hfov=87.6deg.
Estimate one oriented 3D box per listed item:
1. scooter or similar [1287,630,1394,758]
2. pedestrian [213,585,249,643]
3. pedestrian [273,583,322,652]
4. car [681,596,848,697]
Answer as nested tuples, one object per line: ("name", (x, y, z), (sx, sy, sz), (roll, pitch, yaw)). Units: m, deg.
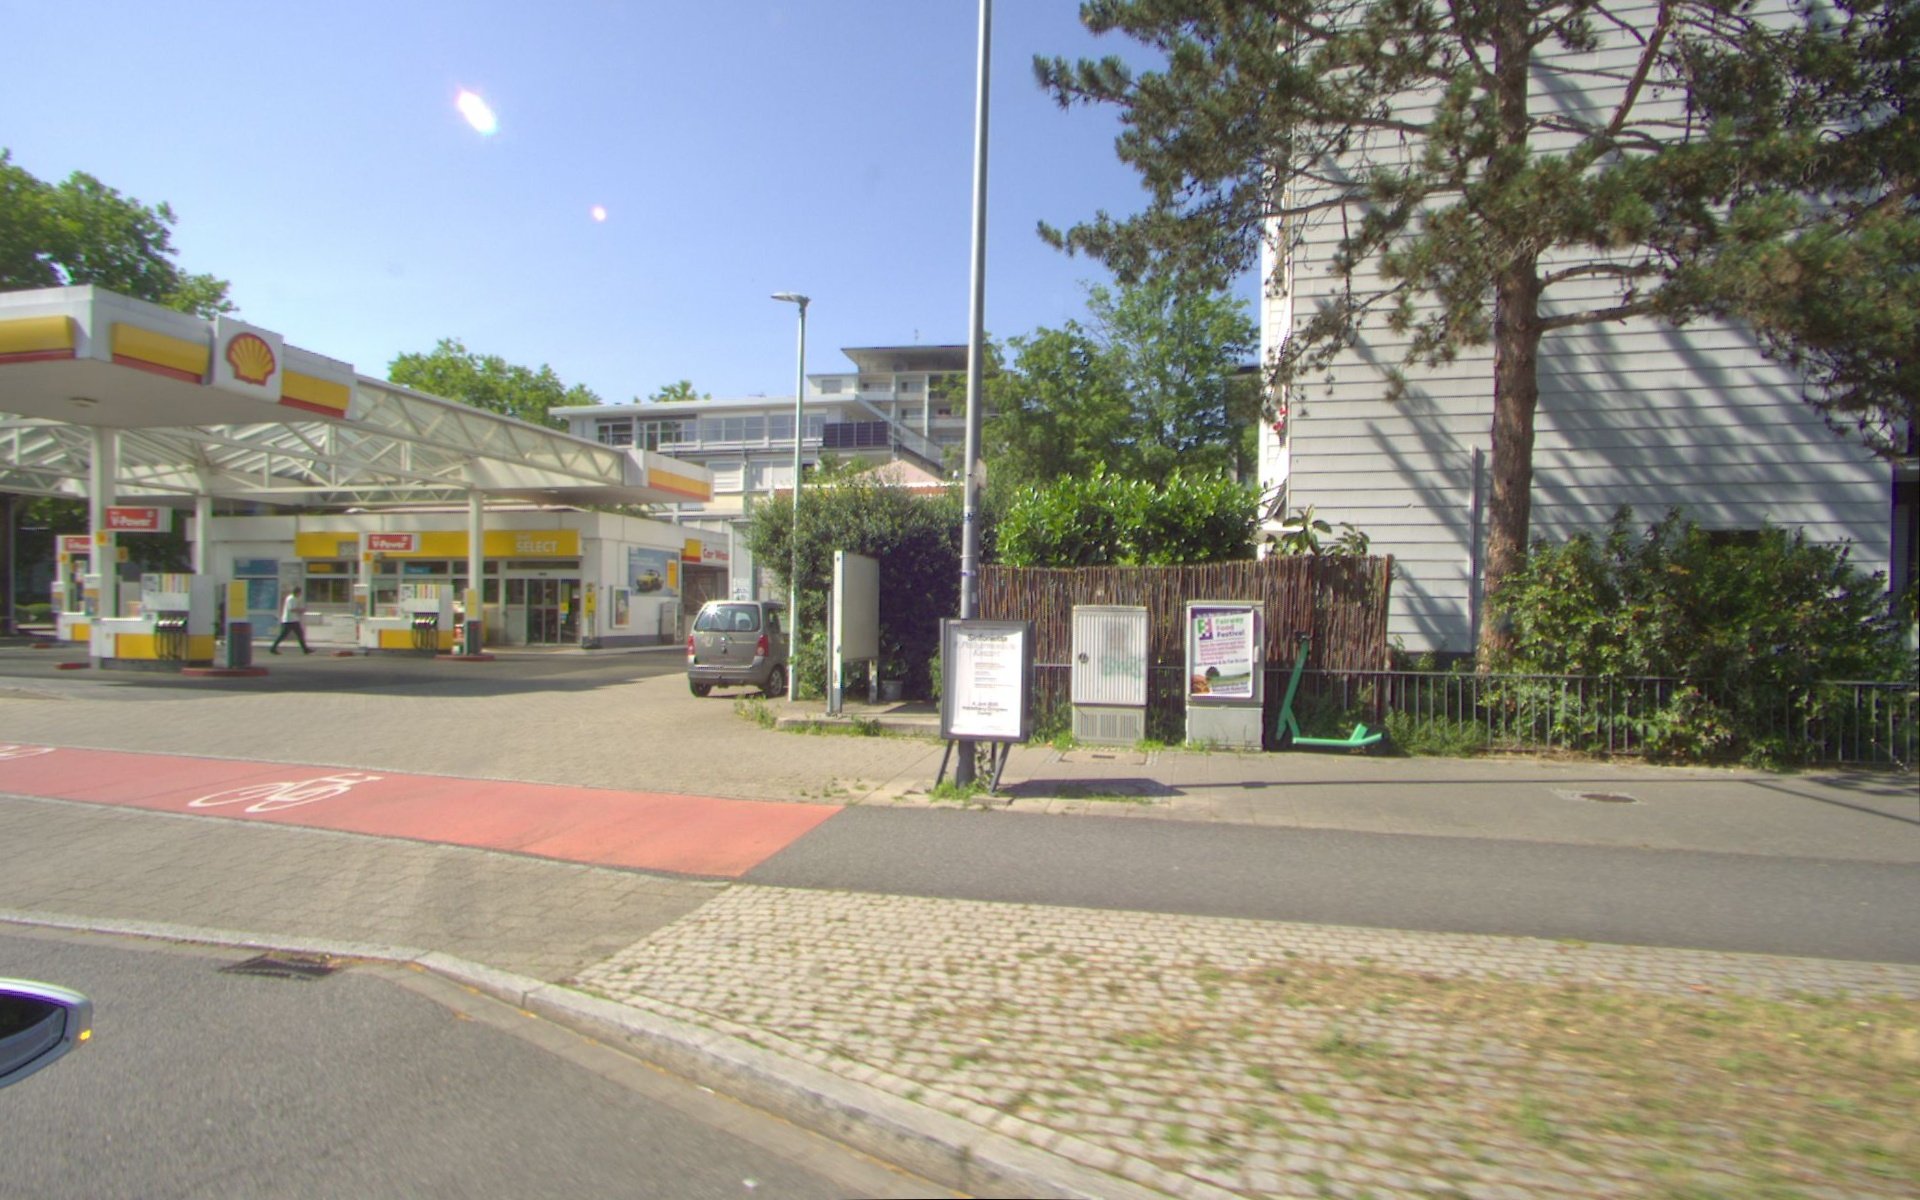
("scooter or similar", (3.663, 0.887, 9.662), (0.941, 1.181, 0.231), (1, 0, 22))
("pedestrian", (-23.184, 0.446, 31.852), (0.620, 1.845, 0.674), (1, 0, 20))
("pedestrian", (-18.293, 0.483, 27.663), (0.842, 1.861, 0.745), (1, 0, -8))
("car", (-3.439, 0.800, 18.326), (1.560, 1.616, 3.831), (1, -1, 13))
